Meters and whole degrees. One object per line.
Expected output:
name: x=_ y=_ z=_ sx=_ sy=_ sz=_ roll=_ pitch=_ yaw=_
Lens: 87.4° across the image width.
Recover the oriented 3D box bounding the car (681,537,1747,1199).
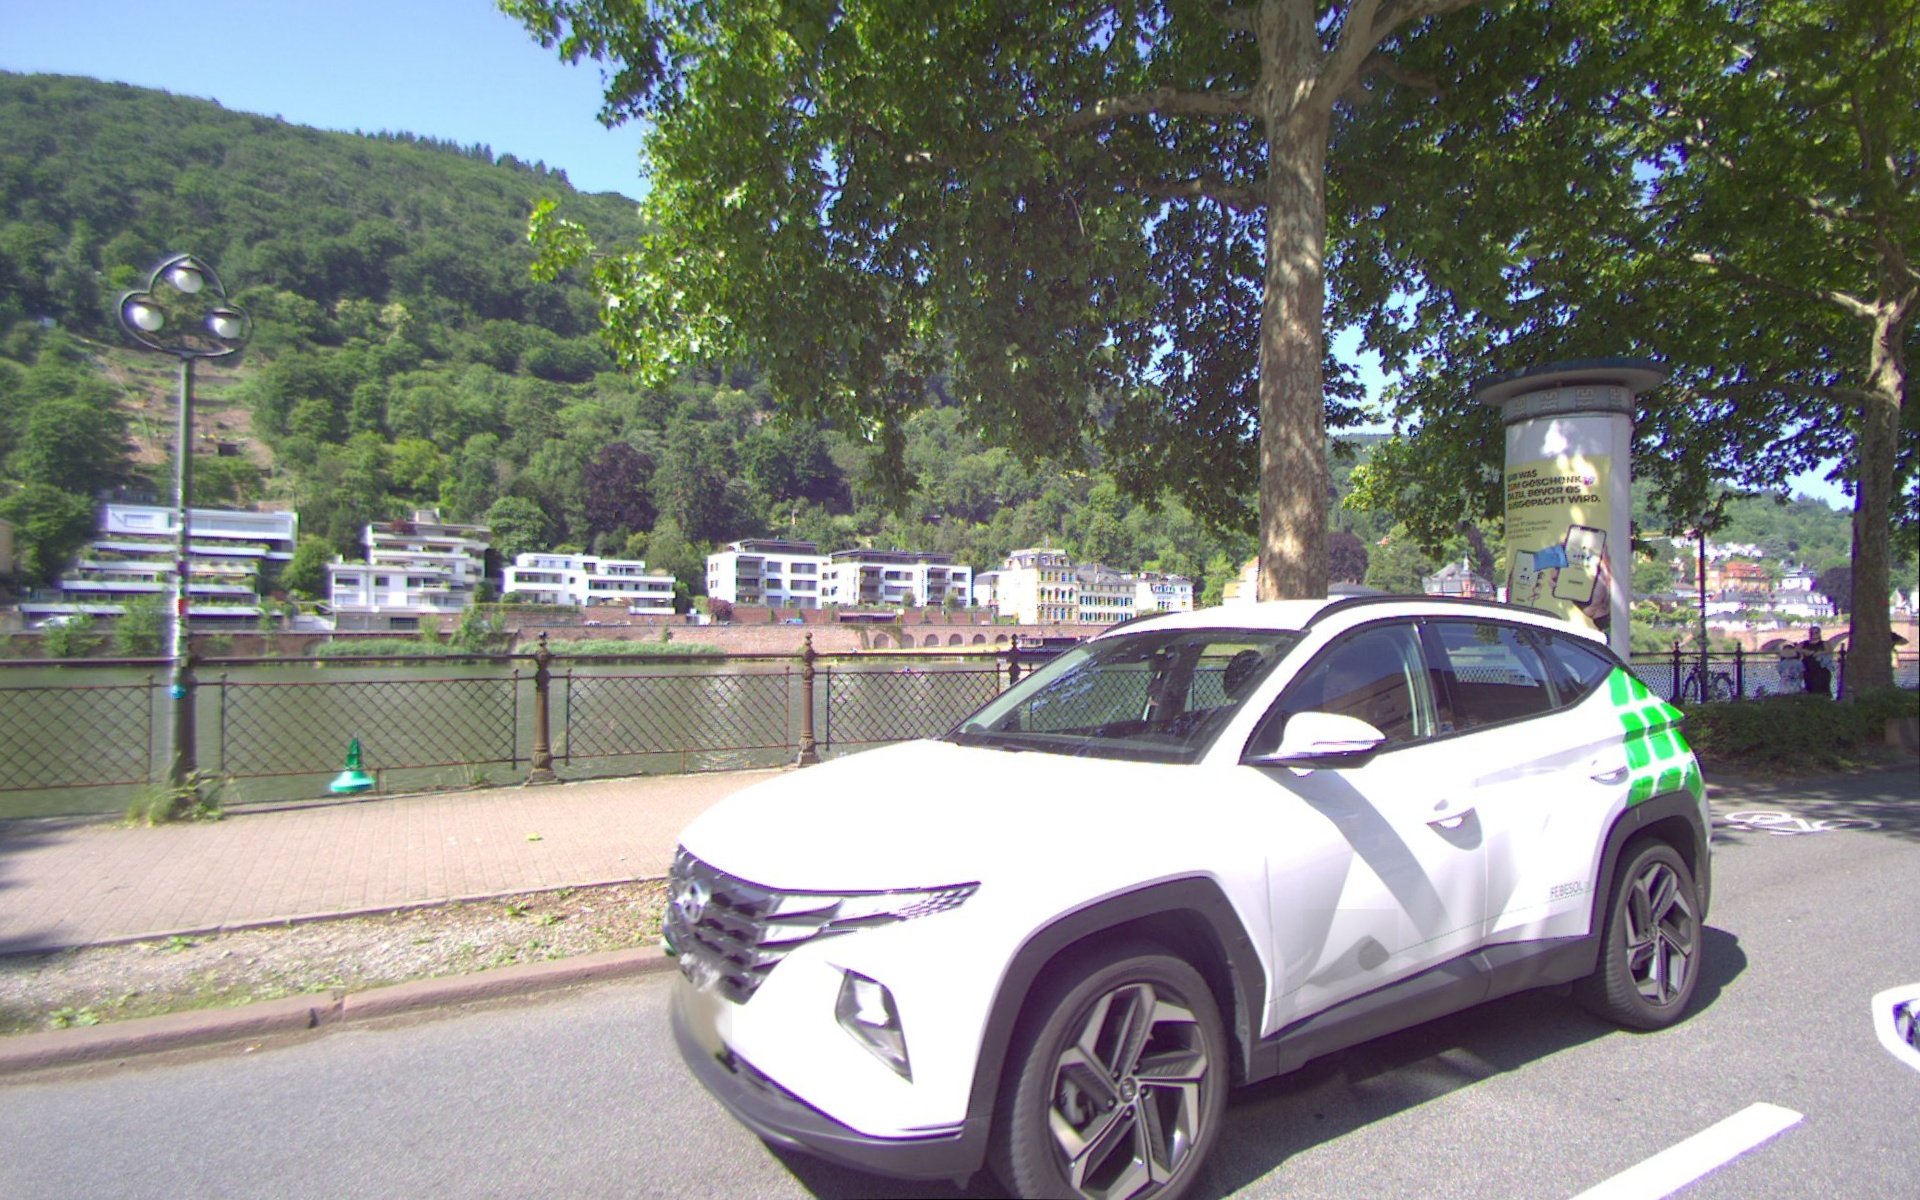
car: x=1.121 y=0.802 z=3.924 sx=3.955 sy=1.681 sz=1.760 roll=2 pitch=-4 yaw=-31

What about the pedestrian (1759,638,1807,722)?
pedestrian: x=13.988 y=1.346 z=17.074 sx=0.411 sy=1.381 sz=0.477 roll=1 pitch=1 yaw=-26

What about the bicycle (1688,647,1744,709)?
bicycle: x=14.197 y=1.452 z=18.862 sx=1.281 sy=1.106 sz=0.357 roll=1 pitch=2 yaw=-31

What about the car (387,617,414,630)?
car: x=-94.925 y=3.968 z=170.385 sx=3.953 sy=2.041 sz=1.984 roll=0 pitch=1 yaw=-30

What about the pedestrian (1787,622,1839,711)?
pedestrian: x=16.664 y=1.280 z=19.630 sx=0.577 sy=1.708 sz=0.598 roll=1 pitch=-2 yaw=-31

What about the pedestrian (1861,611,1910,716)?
pedestrian: x=17.274 y=1.179 z=18.750 sx=0.431 sy=1.912 sz=0.531 roll=1 pitch=1 yaw=-30
